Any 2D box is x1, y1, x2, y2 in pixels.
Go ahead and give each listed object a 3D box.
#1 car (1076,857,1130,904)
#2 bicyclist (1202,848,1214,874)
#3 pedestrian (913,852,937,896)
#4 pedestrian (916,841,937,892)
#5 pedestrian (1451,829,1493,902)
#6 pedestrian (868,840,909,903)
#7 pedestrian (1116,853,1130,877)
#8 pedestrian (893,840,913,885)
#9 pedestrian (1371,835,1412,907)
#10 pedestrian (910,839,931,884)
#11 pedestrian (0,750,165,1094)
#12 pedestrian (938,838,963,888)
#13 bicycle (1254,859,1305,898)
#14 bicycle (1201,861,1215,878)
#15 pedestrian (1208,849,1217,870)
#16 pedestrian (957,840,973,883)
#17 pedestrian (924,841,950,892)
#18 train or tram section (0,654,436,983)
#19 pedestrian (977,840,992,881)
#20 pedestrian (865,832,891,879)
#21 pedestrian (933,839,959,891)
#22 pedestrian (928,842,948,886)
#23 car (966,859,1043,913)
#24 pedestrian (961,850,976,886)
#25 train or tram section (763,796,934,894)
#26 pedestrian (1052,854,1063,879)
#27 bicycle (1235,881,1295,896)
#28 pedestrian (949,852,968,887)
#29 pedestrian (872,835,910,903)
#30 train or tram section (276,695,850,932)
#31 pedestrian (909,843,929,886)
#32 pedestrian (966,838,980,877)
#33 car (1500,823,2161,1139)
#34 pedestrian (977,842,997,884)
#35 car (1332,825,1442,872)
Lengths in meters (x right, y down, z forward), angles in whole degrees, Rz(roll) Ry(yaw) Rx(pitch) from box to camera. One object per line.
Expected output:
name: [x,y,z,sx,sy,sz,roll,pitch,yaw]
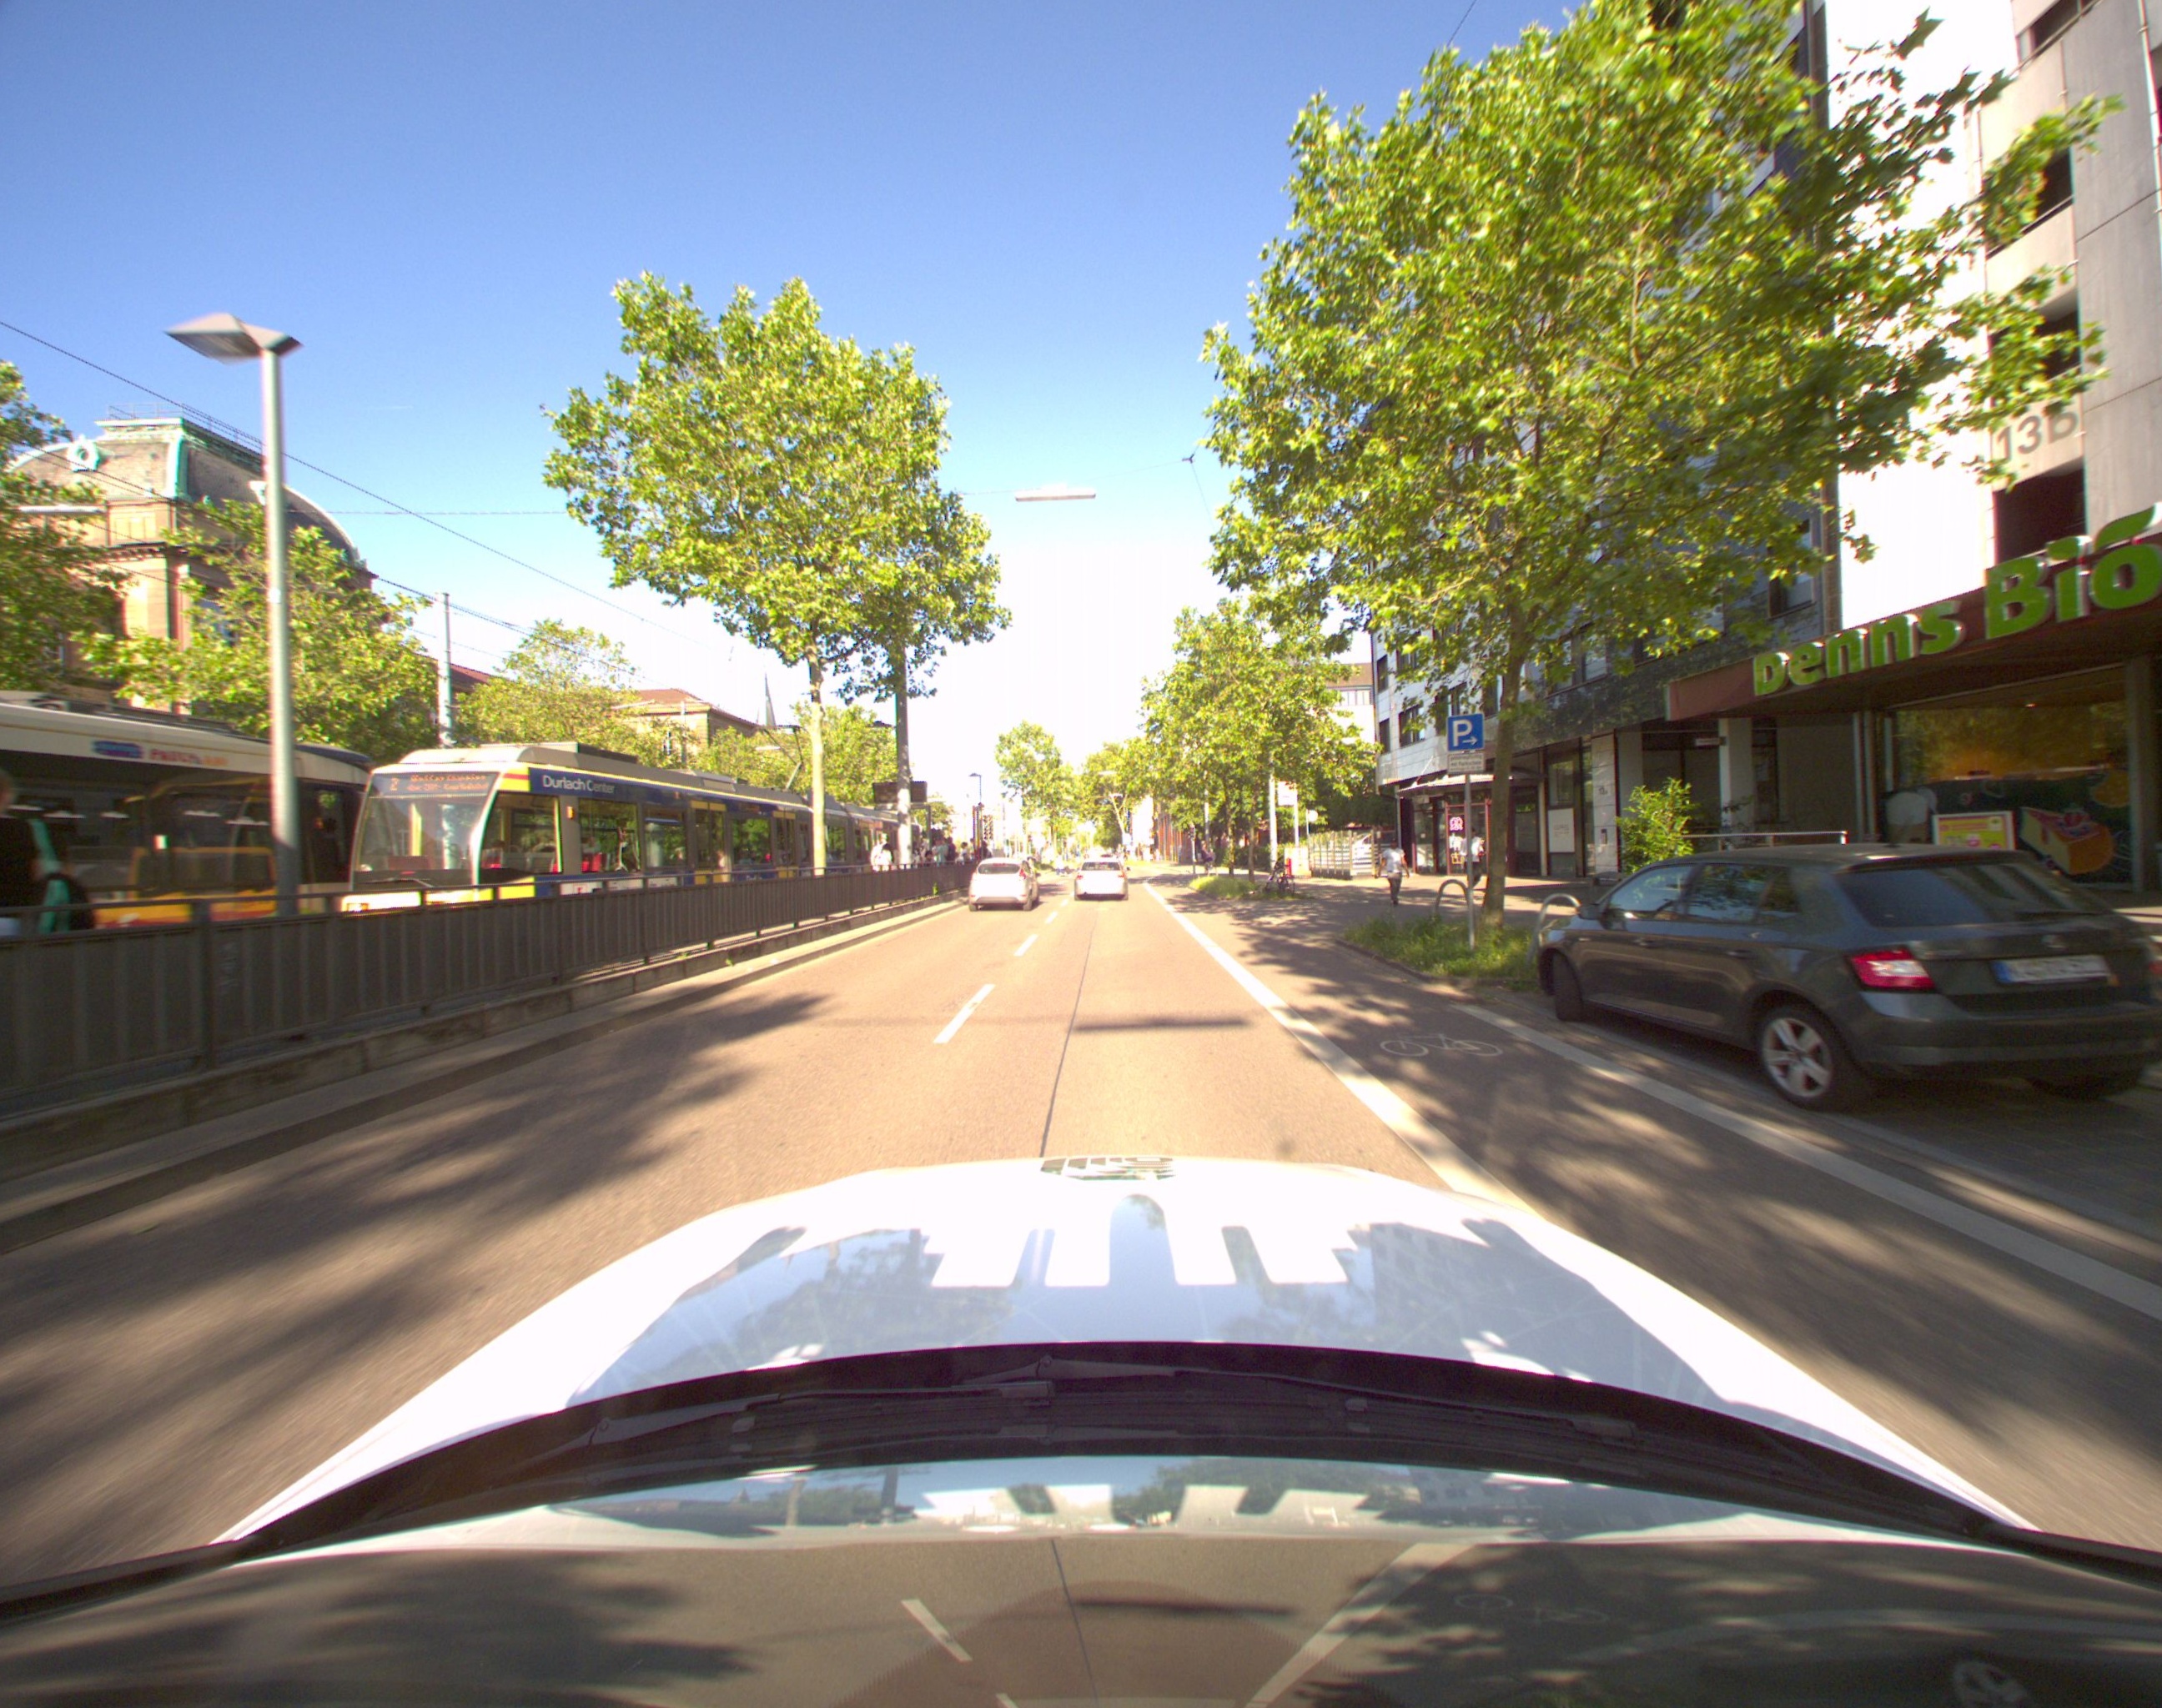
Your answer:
car: [0.745,0.851,27.924,1.724,1.390,3.841,-1,1,1]
bicyclist: [8.467,0.455,54.309,0.654,1.657,0.767,-3,0,10]
pedestrian: [-4.527,0.570,23.685,0.532,1.246,0.604,-3,0,0]
pedestrian: [-5.296,0.412,27.958,0.513,1.708,0.621,-2,0,1]
pedestrian: [9.650,0.287,20.142,0.558,1.744,0.879,-3,0,1]
pedestrian: [-4.791,0.439,20.326,0.773,1.510,0.751,-3,0,-2]
pedestrian: [2.802,0.735,54.419,0.824,1.575,0.741,-2,-1,9]
pedestrian: [-6.861,0.339,31.473,0.607,1.702,0.545,-2,0,-2]
pedestrian: [7.575,0.401,19.894,0.558,1.704,1.052,-3,0,1]
pedestrian: [-6.171,0.290,31.304,0.631,1.702,0.746,-2,0,-2]
pedestrian: [-5.379,0.329,4.209,0.564,1.640,0.622,-1,0,3]
pedestrian: [-4.536,0.325,28.343,0.658,1.696,0.571,-2,0,3]
bicycle: [6.030,0.729,24.863,0.788,1.133,1.839,-2,0,-11]
bicycle: [8.503,1.008,54.325,0.826,1.041,1.880,-3,0,11]
pedestrian: [10.397,0.449,64.232,0.623,1.629,0.946,-1,0,10]
pedestrian: [-4.697,0.297,32.928,0.504,1.702,0.611,-2,0,-2]
pedestrian: [-4.686,0.402,26.490,0.658,1.634,0.571,-2,0,3]
train or tram section: [-12.844,-0.350,4.870,2.838,3.434,18.224,-1,0,2]
pedestrian: [-4.154,0.286,35.151,0.546,1.734,0.539,-2,0,-2]
pedestrian: [-5.739,0.035,23.066,0.532,1.299,0.604,-3,0,-2]
pedestrian: [-4.515,0.369,27.238,0.658,1.696,0.571,-2,0,3]
pedestrian: [-5.469,0.383,31.221,0.617,1.649,0.622,-2,0,-2]
car: [-2.091,0.856,23.219,1.653,1.409,3.635,-1,0,3]
pedestrian: [-4.202,0.528,30.429,0.414,1.316,0.507,-2,0,0]
train or tram section: [-8.925,-0.193,33.701,2.903,3.260,13.117,0,-1,2]
pedestrian: [-1.557,0.819,53.954,0.637,1.619,0.641,-2,-3,0]
bicycle: [5.727,1.074,25.489,1.602,0.353,1.389,-2,0,2]
pedestrian: [-4.378,0.554,29.200,0.543,1.192,0.531,-2,0,1]
pedestrian: [-5.079,0.392,21.762,0.773,1.752,0.723,-3,0,-2]
train or tram section: [-9.402,-0.427,19.203,2.903,3.260,15.898,0,-1,2]
pedestrian: [-5.832,0.362,29.270,0.543,1.519,0.531,-2,0,1]
pedestrian: [-4.967,0.162,37.431,0.546,1.734,0.539,-2,0,-2]
car: [4.888,0.641,6.090,1.558,1.550,4.002,-2,0,2]
pedestrian: [-3.975,0.362,34.429,0.543,1.734,0.543,-3,0,23]
car: [15.857,-0.278,42.416,4.879,1.984,1.914,-5,0,2]
